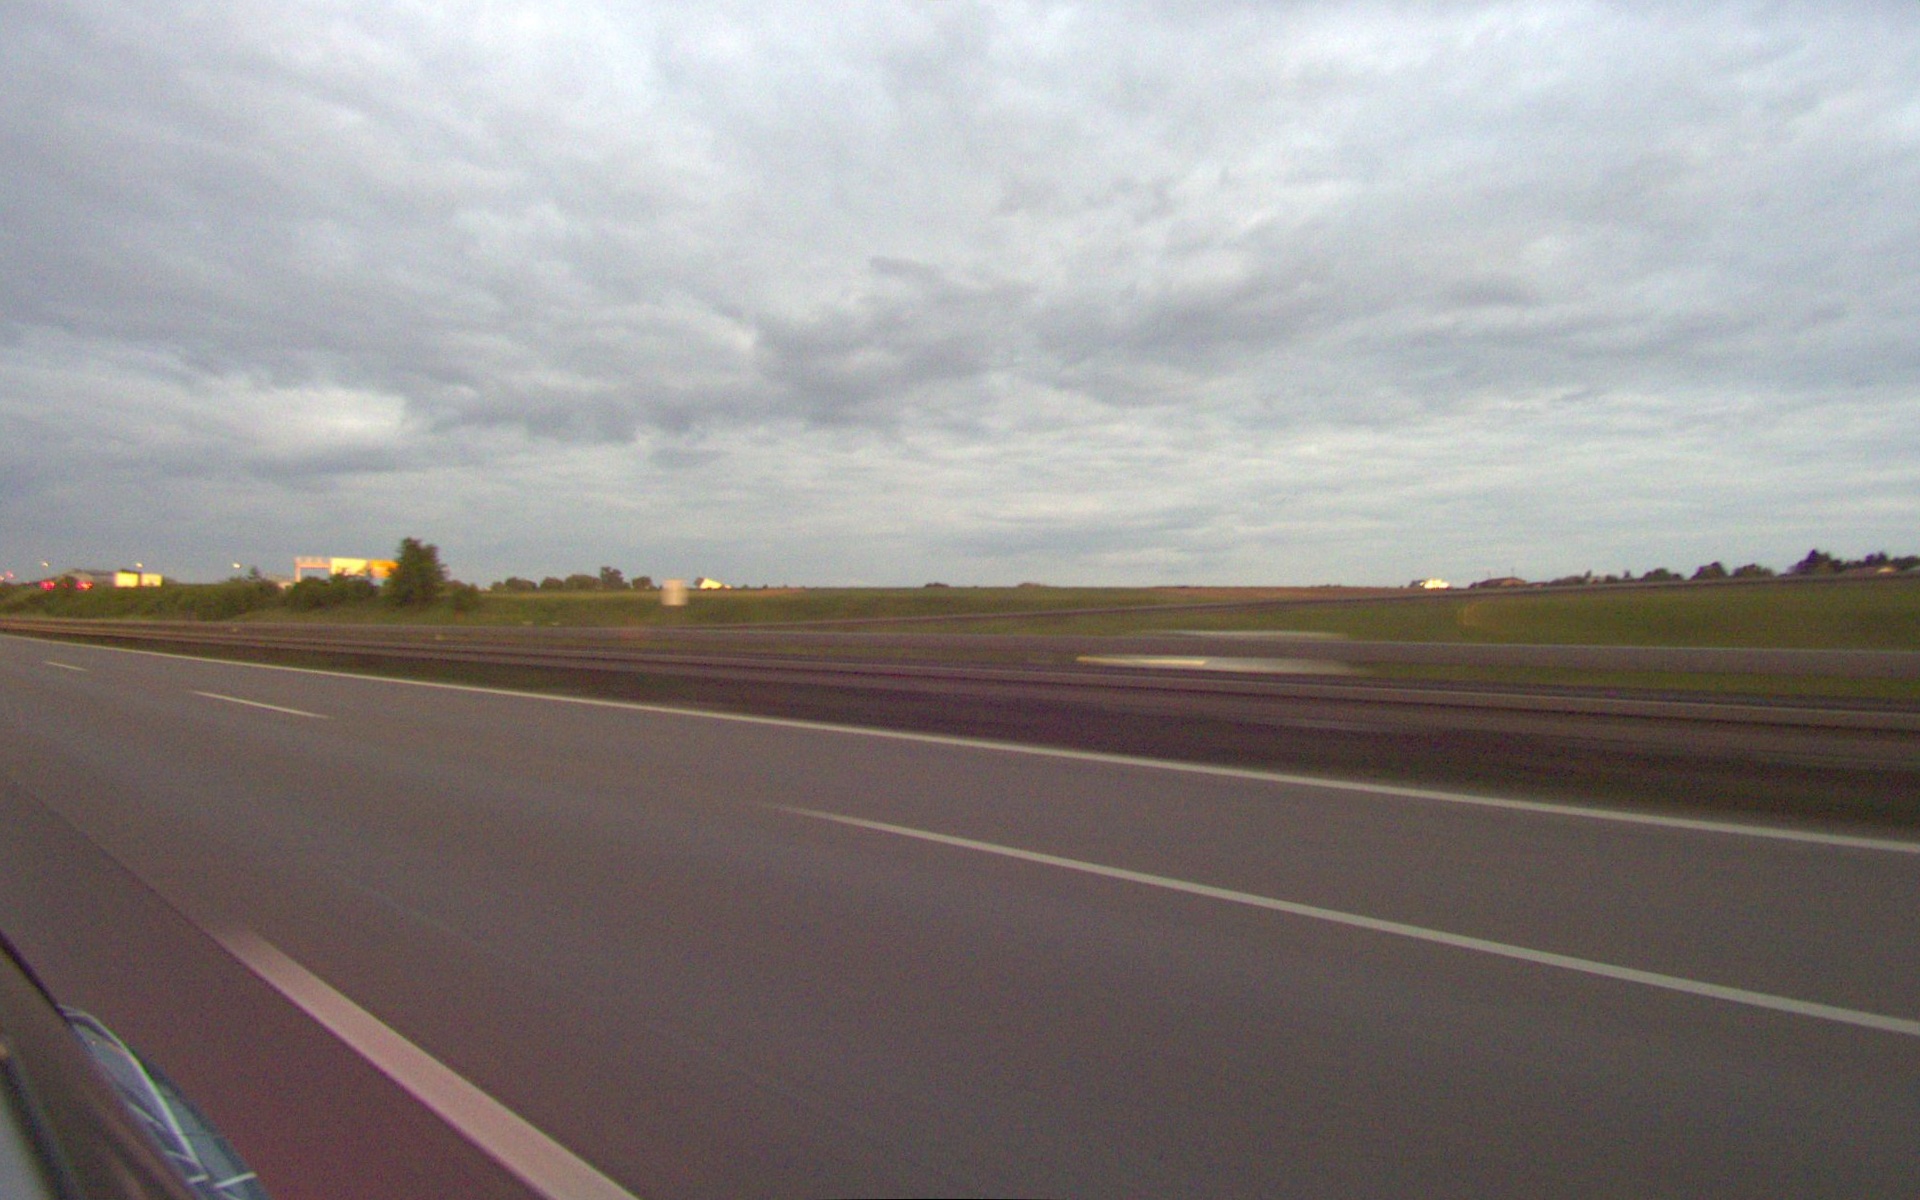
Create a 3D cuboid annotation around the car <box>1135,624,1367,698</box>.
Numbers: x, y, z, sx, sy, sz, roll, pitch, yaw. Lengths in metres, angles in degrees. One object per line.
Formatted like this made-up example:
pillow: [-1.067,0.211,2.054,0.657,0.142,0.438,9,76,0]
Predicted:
car: [5.935,1.186,20.901,4.173,1.360,1.973,-1,-2,41]
